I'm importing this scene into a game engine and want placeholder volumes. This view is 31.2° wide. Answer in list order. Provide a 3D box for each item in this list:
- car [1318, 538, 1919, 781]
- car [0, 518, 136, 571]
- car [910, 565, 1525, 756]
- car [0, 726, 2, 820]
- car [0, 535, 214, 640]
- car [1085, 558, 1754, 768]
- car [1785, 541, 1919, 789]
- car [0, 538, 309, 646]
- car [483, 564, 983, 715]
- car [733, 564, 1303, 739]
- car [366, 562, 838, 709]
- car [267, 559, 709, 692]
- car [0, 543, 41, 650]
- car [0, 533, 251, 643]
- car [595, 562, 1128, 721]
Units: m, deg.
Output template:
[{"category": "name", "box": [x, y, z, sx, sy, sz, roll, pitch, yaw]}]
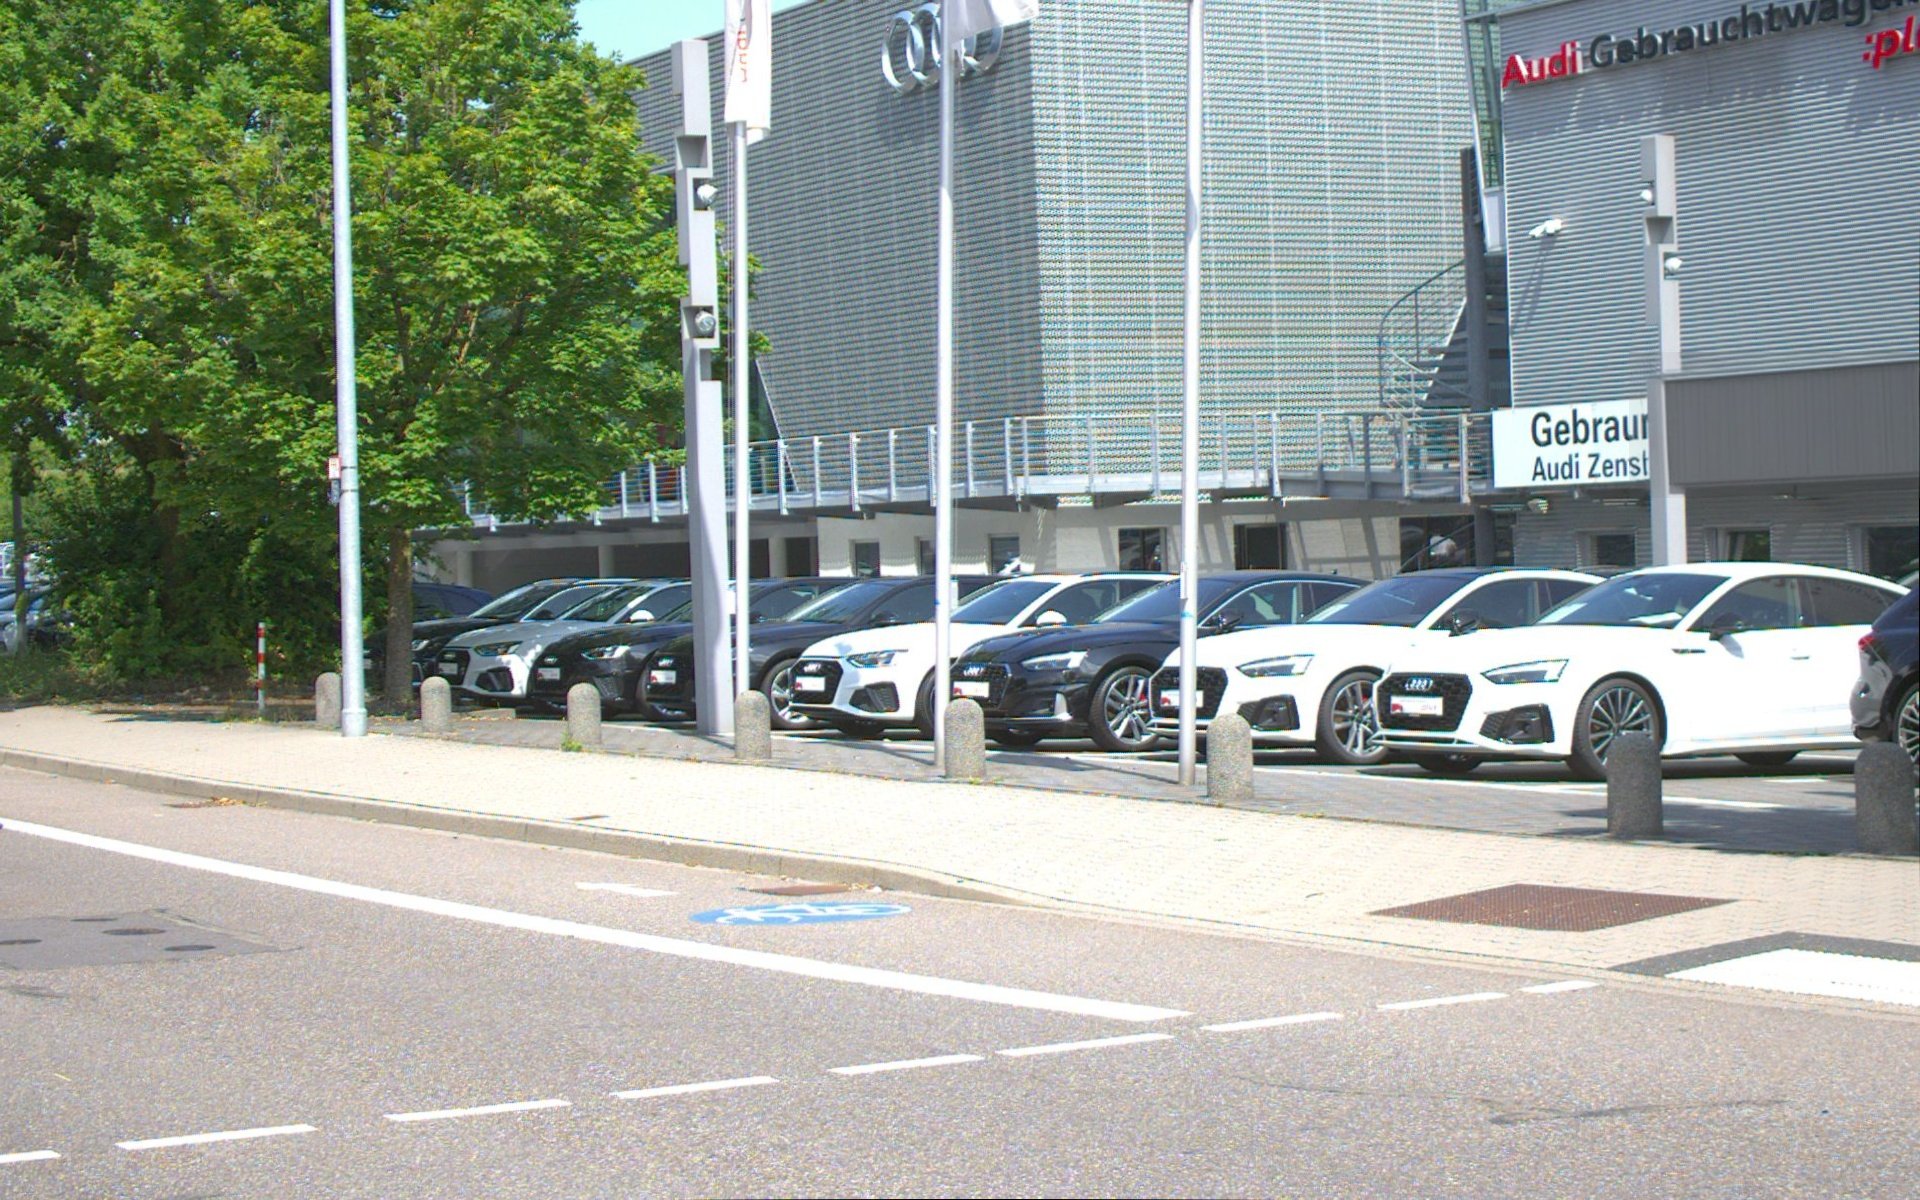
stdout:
[{"category": "car", "box": [4.495, 0.397, 22.435, 3.986, 1.459, 1.796, 1, -1, -30]}, {"category": "car", "box": [-30.834, -1.926, 118.587, 4.354, 1.768, 1.936, -1, 2, -27]}, {"category": "car", "box": [2.067, 0.424, 27.200, 4.575, 1.293, 1.907, -1, 2, -30]}, {"category": "car", "box": [-7.908, 0.578, 23.066, 1.774, 1.623, 4.000, -2, 2, -32]}, {"category": "car", "box": [-15.200, -0.226, 58.395, 4.575, 1.672, 1.907, -1, 2, -30]}, {"category": "car", "box": [3.344, 0.396, 24.800, 4.575, 1.293, 1.907, -1, 2, -30]}, {"category": "car", "box": [7.064, 0.398, 19.565, 1.790, 1.459, 4.756, 1, -1, -31]}, {"category": "car", "box": [-12.744, -0.140, 53.839, 4.575, 1.493, 1.907, -2, 1, -30]}, {"category": "car", "box": [-2.239, 0.384, 34.246, 4.574, 1.379, 1.907, 1, 1, -30]}, {"category": "car", "box": [0.527, 0.395, 29.571, 4.575, 1.293, 1.907, -1, 2, -30]}, {"category": "car", "box": [-3.787, 0.382, 36.574, 4.574, 1.400, 1.907, 2, 1, -30]}, {"category": "car", "box": [-5.337, 0.265, 39.006, 4.574, 1.400, 1.907, 0, 2, -30]}, {"category": "car", "box": [-20.424, -0.042, 66.881, 4.575, 2.042, 1.907, -1, 2, -30]}, {"category": "car", "box": [-14.120, -0.216, 56.225, 4.575, 1.672, 1.907, -1, 2, -30]}, {"category": "car", "box": [-0.892, 0.397, 32.107, 4.574, 1.293, 1.907, 2, 1, -30]}]
